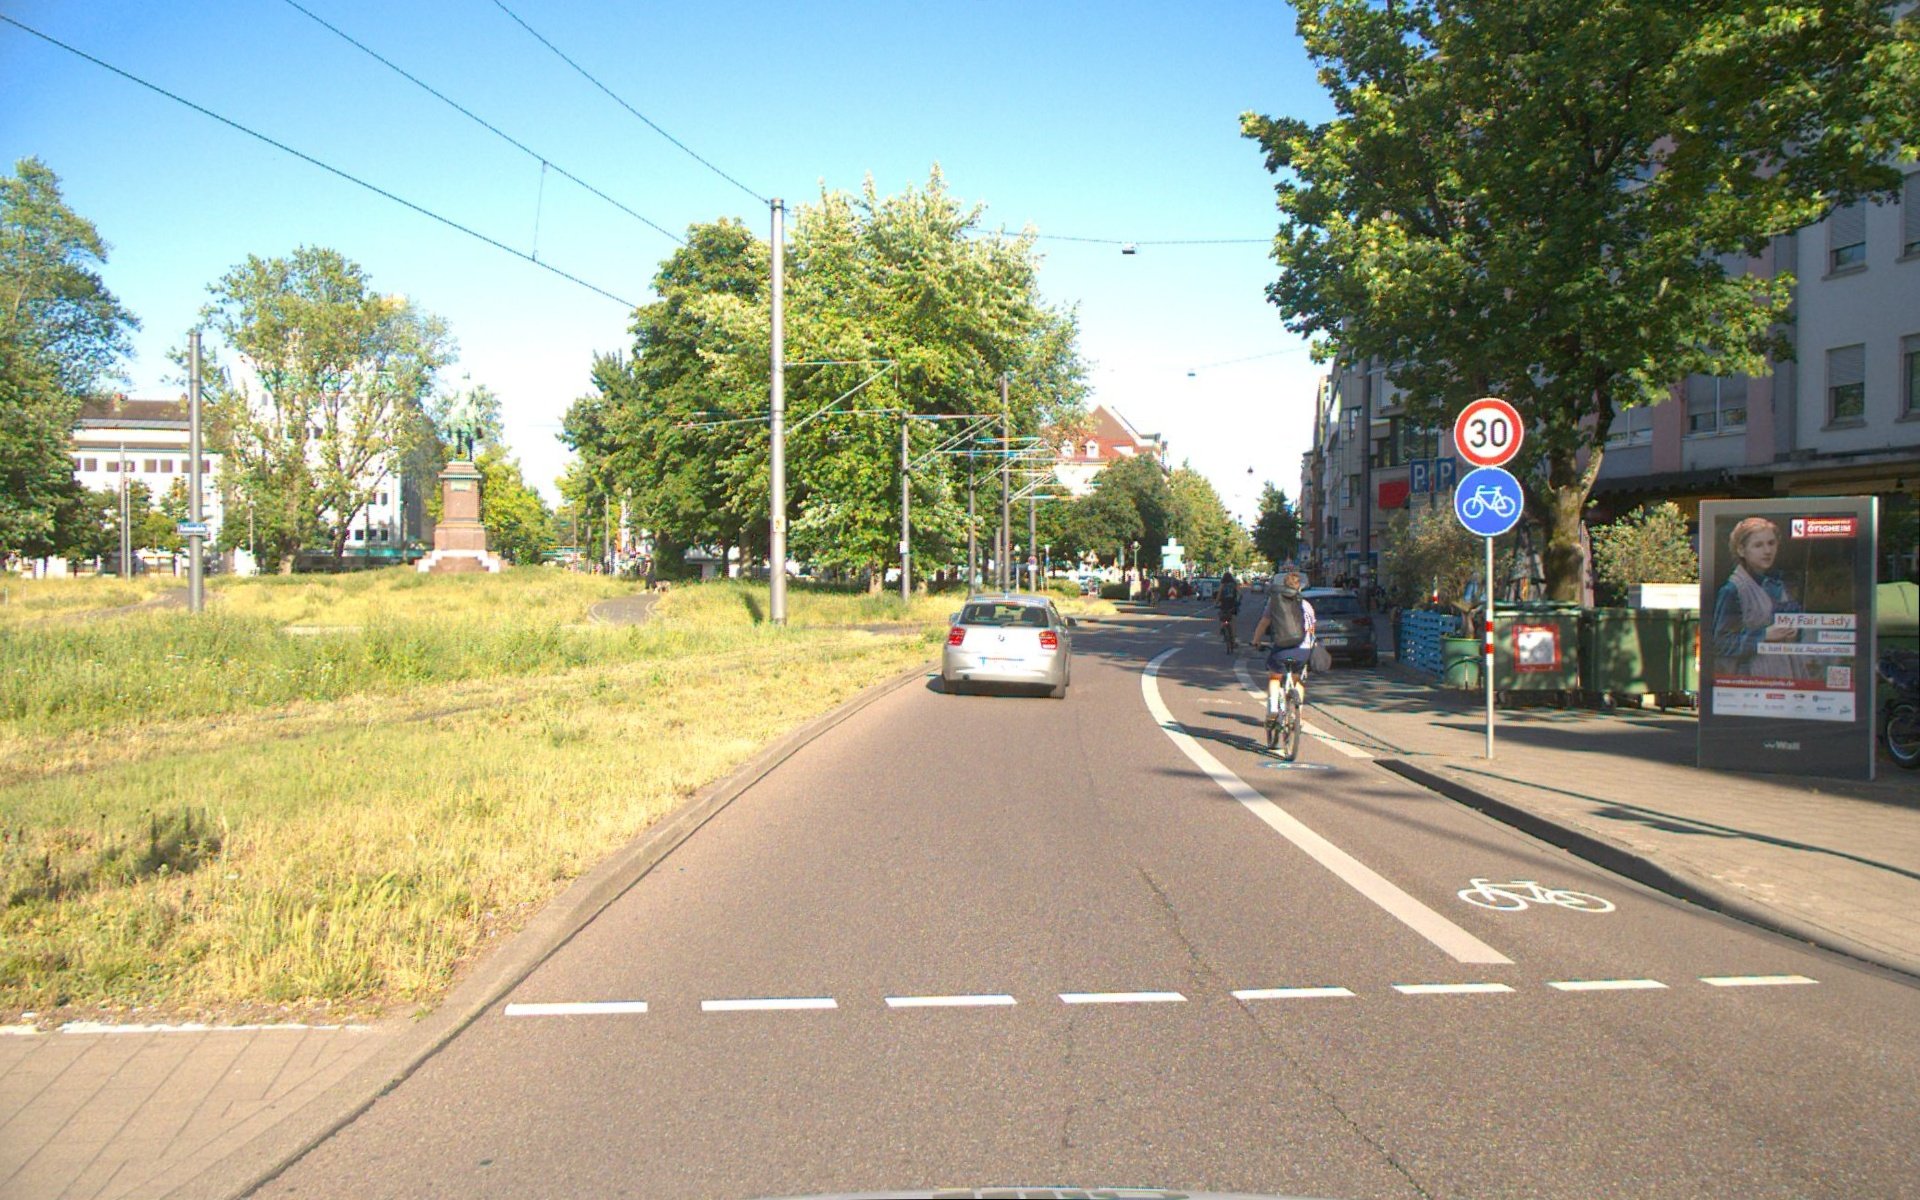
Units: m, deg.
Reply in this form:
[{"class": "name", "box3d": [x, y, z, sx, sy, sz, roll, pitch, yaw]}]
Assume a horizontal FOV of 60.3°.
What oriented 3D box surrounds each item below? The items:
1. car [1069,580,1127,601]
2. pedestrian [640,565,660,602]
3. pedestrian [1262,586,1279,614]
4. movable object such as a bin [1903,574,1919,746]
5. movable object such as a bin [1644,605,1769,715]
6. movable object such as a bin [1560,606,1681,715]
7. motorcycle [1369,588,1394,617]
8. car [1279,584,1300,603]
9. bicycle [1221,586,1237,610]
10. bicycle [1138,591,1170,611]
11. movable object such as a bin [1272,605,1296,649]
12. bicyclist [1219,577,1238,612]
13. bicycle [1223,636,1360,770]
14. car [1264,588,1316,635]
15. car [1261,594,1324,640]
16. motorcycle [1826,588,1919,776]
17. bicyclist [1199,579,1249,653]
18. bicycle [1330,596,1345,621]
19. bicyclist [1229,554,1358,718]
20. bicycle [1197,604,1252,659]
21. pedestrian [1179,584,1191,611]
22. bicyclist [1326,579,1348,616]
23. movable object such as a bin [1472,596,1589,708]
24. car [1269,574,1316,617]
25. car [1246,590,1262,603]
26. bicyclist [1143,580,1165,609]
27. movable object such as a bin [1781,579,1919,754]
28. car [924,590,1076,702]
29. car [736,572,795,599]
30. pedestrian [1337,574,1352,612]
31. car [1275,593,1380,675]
[{"class": "car", "box3d": [13.377, -0.901, 160.047, 5.177, 1.831, 2.154, 2, 0, -16]}, {"class": "pedestrian", "box3d": [-14.064, -0.754, 74.958, 0.669, 1.644, 0.547, 2, -1, -41]}, {"class": "pedestrian", "box3d": [19.298, -0.023, 102.797, 0.658, 1.729, 0.800, 2, -1, -20]}, {"class": "movable object such as a bin", "box3d": [10.366, 0.600, 16.621, 1.234, 1.739, 0.942, 0, -1, -14]}, {"class": "movable object such as a bin", "box3d": [10.061, 0.798, 22.321, 1.191, 1.415, 0.957, 2, 0, -12]}, {"class": "movable object such as a bin", "box3d": [8.739, 0.786, 21.906, 1.151, 1.379, 0.925, 2, 0, -12]}, {"class": "motorcycle", "box3d": [17.661, 0.106, 69.230, 0.748, 1.175, 2.047, -2, -2, 21]}, {"class": "car", "box3d": [31.415, -0.598, 157.781, 1.858, 1.704, 4.829, 2, 0, 11]}, {"class": "bicycle", "box3d": [11.595, -0.078, 71.376, 0.638, 0.975, 2.700, 2, 0, 10]}, {"class": "bicycle", "box3d": [10.704, 0.061, 91.278, 0.796, 1.087, 2.572, 2, 0, -15]}, {"class": "movable object such as a bin", "box3d": [8.387, 0.690, 42.811, 0.561, 1.101, 0.571, 2, -1, 8]}, {"class": "bicyclist", "box3d": [11.626, -0.232, 71.570, 0.769, 1.478, 1.096, 2, 0, 10]}, {"class": "bicycle", "box3d": [3.179, 0.958, 16.111, 0.867, 1.155, 2.229, 2, 0, 0]}, {"class": "car", "box3d": [11.629, 0.424, 58.133, 1.635, 1.545, 4.202, 2, 0, 13]}, {"class": "car", "box3d": [10.809, 0.548, 53.538, 1.812, 1.367, 4.603, 2, 0, 13]}, {"class": "motorcycle", "box3d": [8.432, 0.702, 13.829, 0.787, 1.566, 2.542, 1, 1, -6]}, {"class": "bicyclist", "box3d": [6.093, 0.366, 38.173, 0.920, 1.662, 0.934, 2, 0, -4]}, {"class": "bicycle", "box3d": [14.158, 0.329, 62.117, 0.523, 0.907, 2.072, 2, 0, 13]}, {"class": "bicyclist", "box3d": [3.210, 0.340, 16.034, 1.016, 1.510, 0.988, 2, 0, 0]}, {"class": "bicycle", "box3d": [6.079, 0.707, 38.163, 0.803, 1.206, 1.963, 2, 0, -4]}, {"class": "pedestrian", "box3d": [14.468, -0.184, 106.362, 0.622, 1.701, 0.693, 1, -1, 12]}, {"class": "bicyclist", "box3d": [14.146, -0.084, 62.095, 0.742, 1.349, 0.995, 2, 0, 13]}, {"class": "movable object such as a bin", "box3d": [7.552, 0.681, 21.963, 1.253, 1.416, 0.922, 2, 0, 5]}, {"class": "car", "box3d": [15.001, -0.190, 74.787, 1.951, 1.844, 4.313, 2, 0, 11]}, {"class": "car", "box3d": [37.531, -0.428, 211.001, 1.830, 1.583, 4.003, 2, 0, 12]}, {"class": "bicyclist", "box3d": [10.716, -0.296, 91.318, 0.914, 1.534, 0.822, 2, -1, -16]}, {"class": "movable object such as a bin", "box3d": [9.076, 0.637, 16.395, 1.357, 1.668, 1.004, 1, 0, -14]}, {"class": "car", "box3d": [0.683, 0.628, 24.403, 1.951, 1.448, 4.199, 2, 0, 5]}, {"class": "car", "box3d": [-17.922, -1.317, 152.215, 5.242, 2.354, 1.994, 2, 0, -12]}, {"class": "pedestrian", "box3d": [19.156, -0.339, 82.444, 0.656, 1.888, 0.611, -2, -1, 14]}, {"class": "car", "box3d": [7.226, 0.625, 32.877, 1.728, 1.463, 4.587, 0, 1, 9]}]
